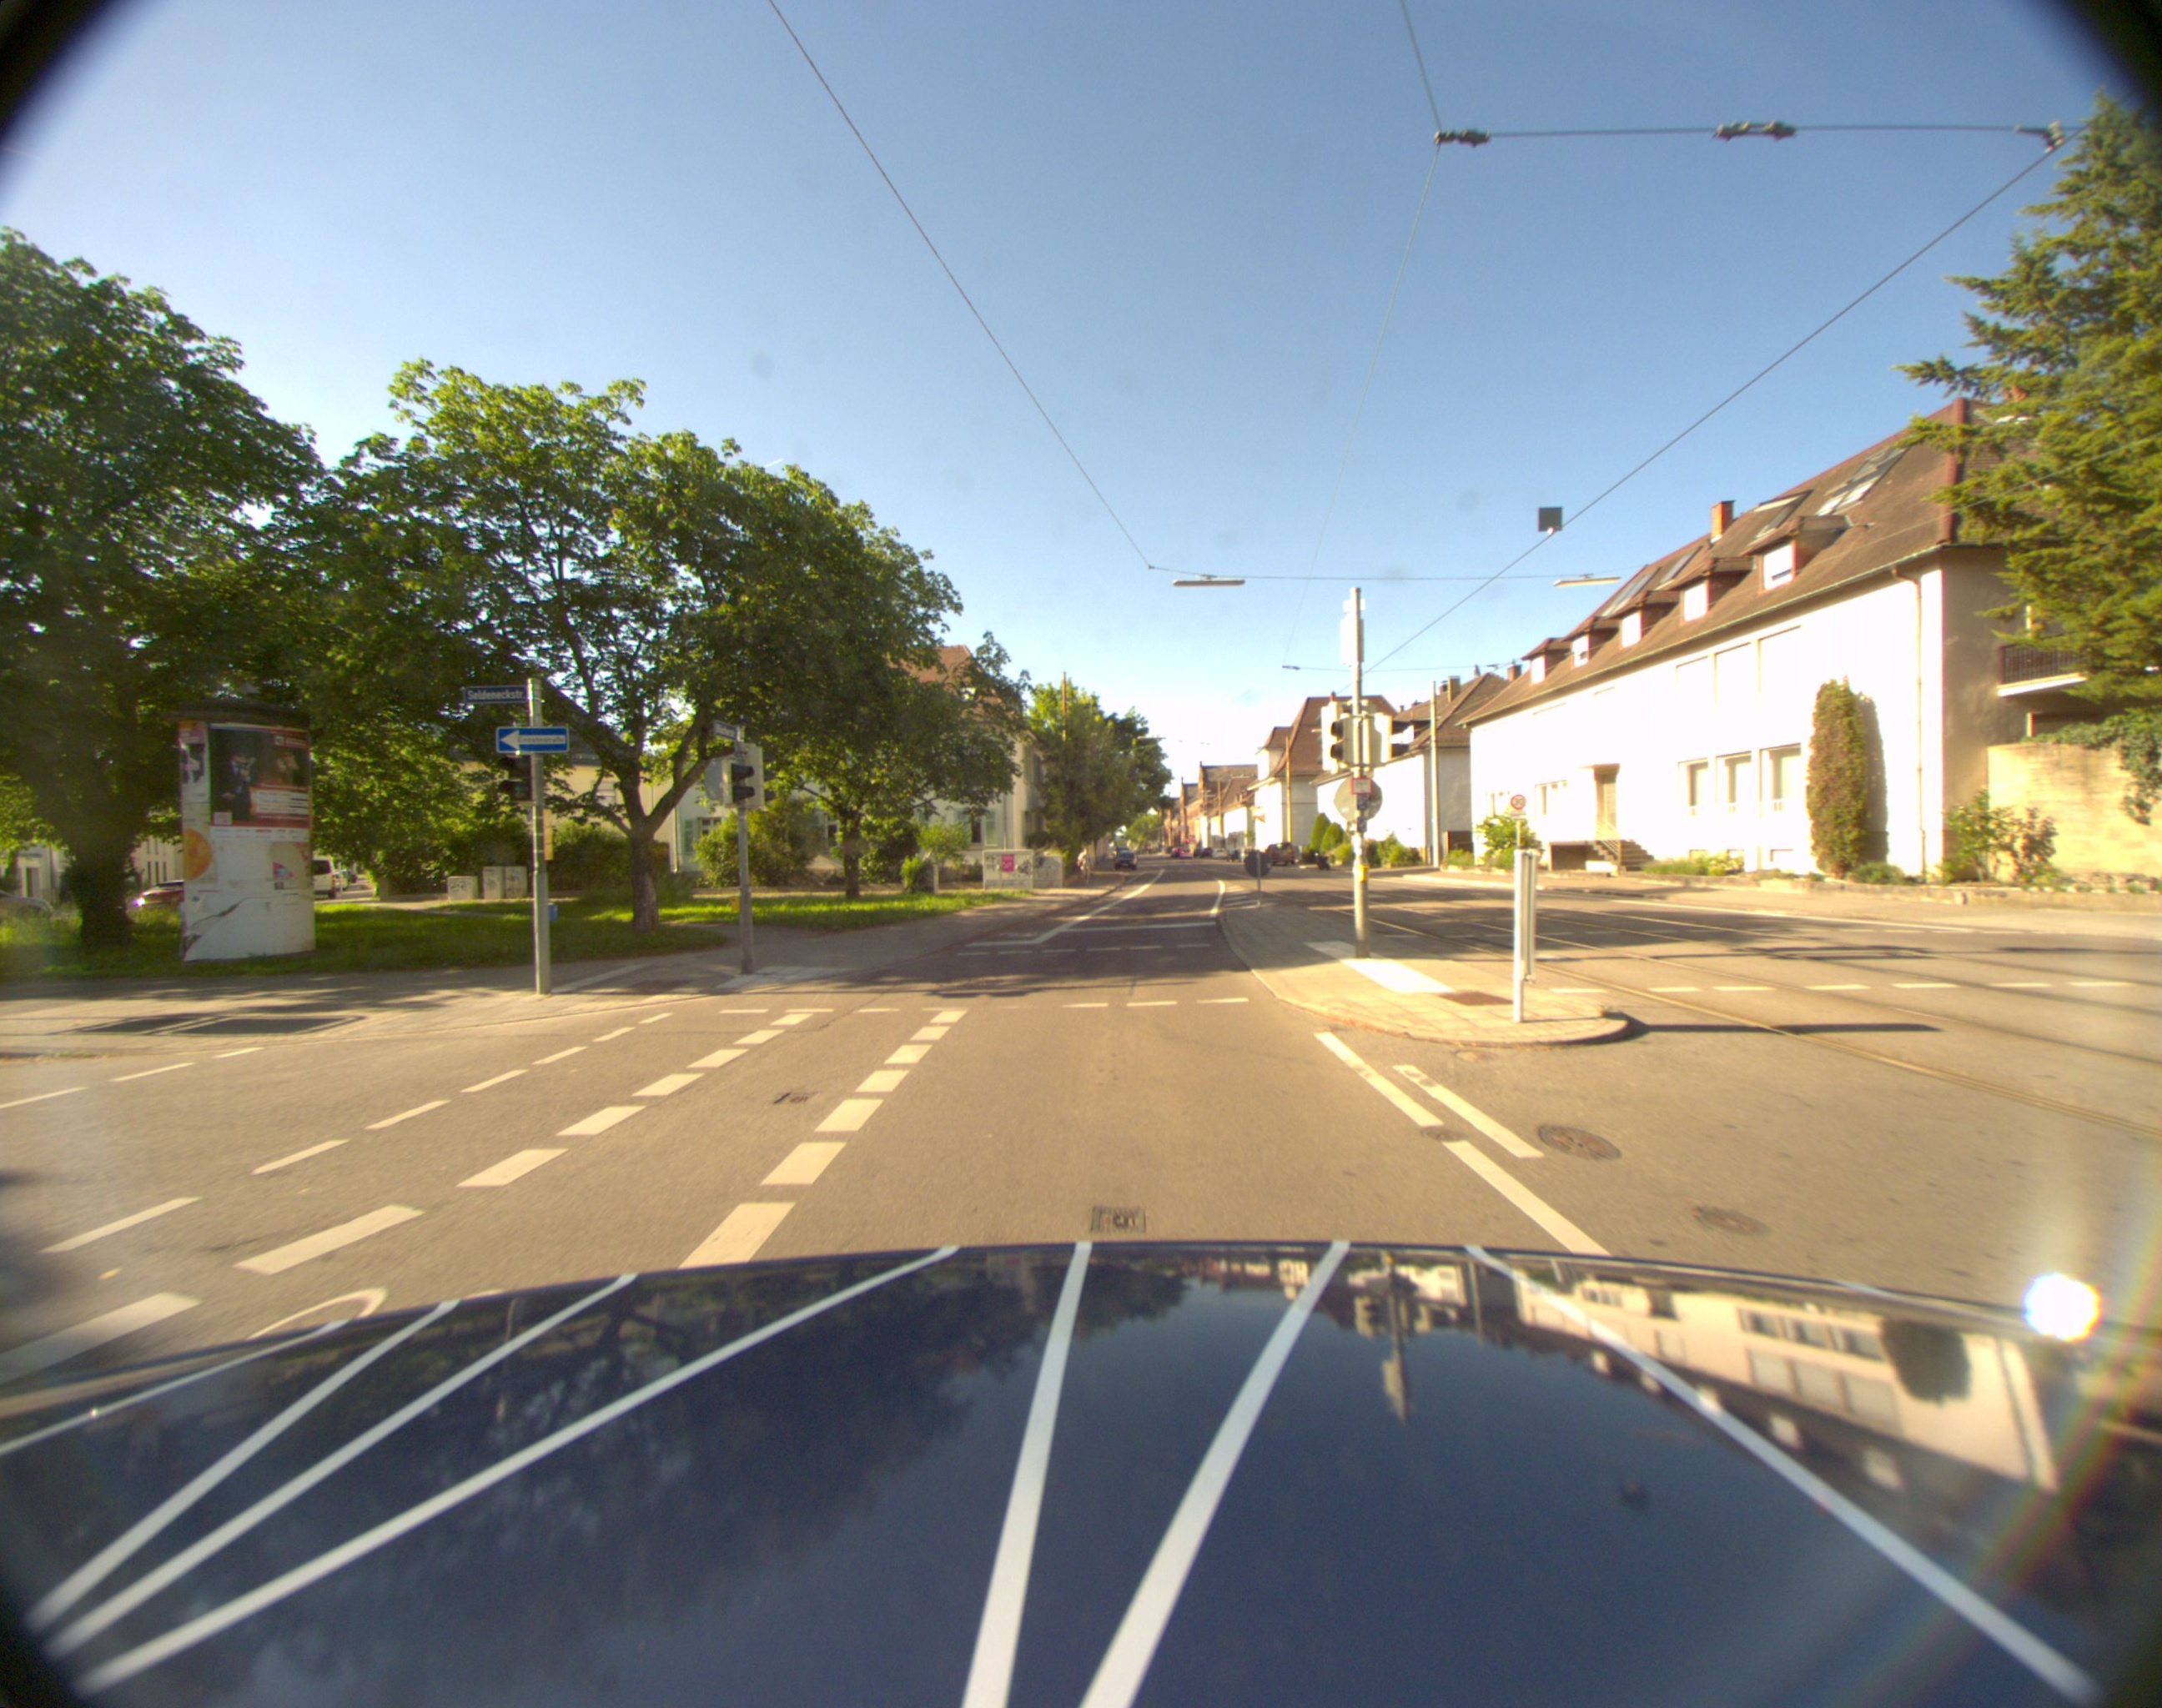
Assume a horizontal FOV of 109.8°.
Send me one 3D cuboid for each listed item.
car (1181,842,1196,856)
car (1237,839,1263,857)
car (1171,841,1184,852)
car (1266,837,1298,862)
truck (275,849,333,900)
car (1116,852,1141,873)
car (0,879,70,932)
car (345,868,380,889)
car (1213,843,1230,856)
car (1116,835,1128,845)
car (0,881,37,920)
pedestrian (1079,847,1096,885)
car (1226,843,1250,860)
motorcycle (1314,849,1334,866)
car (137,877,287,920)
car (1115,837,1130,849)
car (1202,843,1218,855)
[{"bbox_3d":[14.955,-0.709,106.019,1.923,1.705,4.002,-3,0,7],"label":"car"},{"bbox_3d":[17.487,-0.640,78.776,1.923,1.705,4.001,-3,0,4],"label":"car"},{"bbox_3d":[15.087,-1.191,119.329,1.923,1.705,4.002,-3,0,7],"label":"car"},{"bbox_3d":[16.918,-0.380,64.201,1.923,1.890,4.001,-3,0,5],"label":"car"},{"bbox_3d":[-42.394,1.087,41.438,4.966,2.561,2.004,-1,1,44],"label":"truck"},{"bbox_3d":[3.897,0.659,61.975,1.704,1.541,4.002,-3,0,8],"label":"car"},{"bbox_3d":[-35.638,1.716,24.139,1.920,1.638,3.716,-1,0,12],"label":"car"},{"bbox_3d":[-55.426,1.885,58.654,1.762,1.462,3.885,-2,1,-41],"label":"car"},{"bbox_3d":[18.455,-0.638,99.862,1.923,1.555,4.002,-3,0,7],"label":"car"},{"bbox_3d":[7.327,-2.480,136.114,1.704,1.541,4.002,-3,0,8],"label":"car"},{"bbox_3d":[-42.092,1.809,27.961,1.757,1.462,3.898,-1,0,7],"label":"car"},{"bbox_3d":[0.299,0.527,34.199,0.655,1.664,0.943,0,1,5],"label":"pedestrian"},{"bbox_3d":[17.287,-0.301,83.990,1.923,1.705,4.001,-3,0,3],"label":"car"},{"bbox_3d":[15.703,0.206,49.156,0.605,1.040,2.438,-3,0,5],"label":"motorcycle"},{"bbox_3d":[-35.147,1.767,30.917,1.607,1.525,4.280,-1,-1,-8],"label":"car"},{"bbox_3d":[5.616,-1.455,102.287,1.704,1.541,4.002,-3,0,8],"label":"car"},{"bbox_3d":[19.431,-0.725,114.571,1.923,1.705,4.001,-4,0,4],"label":"car"}]
